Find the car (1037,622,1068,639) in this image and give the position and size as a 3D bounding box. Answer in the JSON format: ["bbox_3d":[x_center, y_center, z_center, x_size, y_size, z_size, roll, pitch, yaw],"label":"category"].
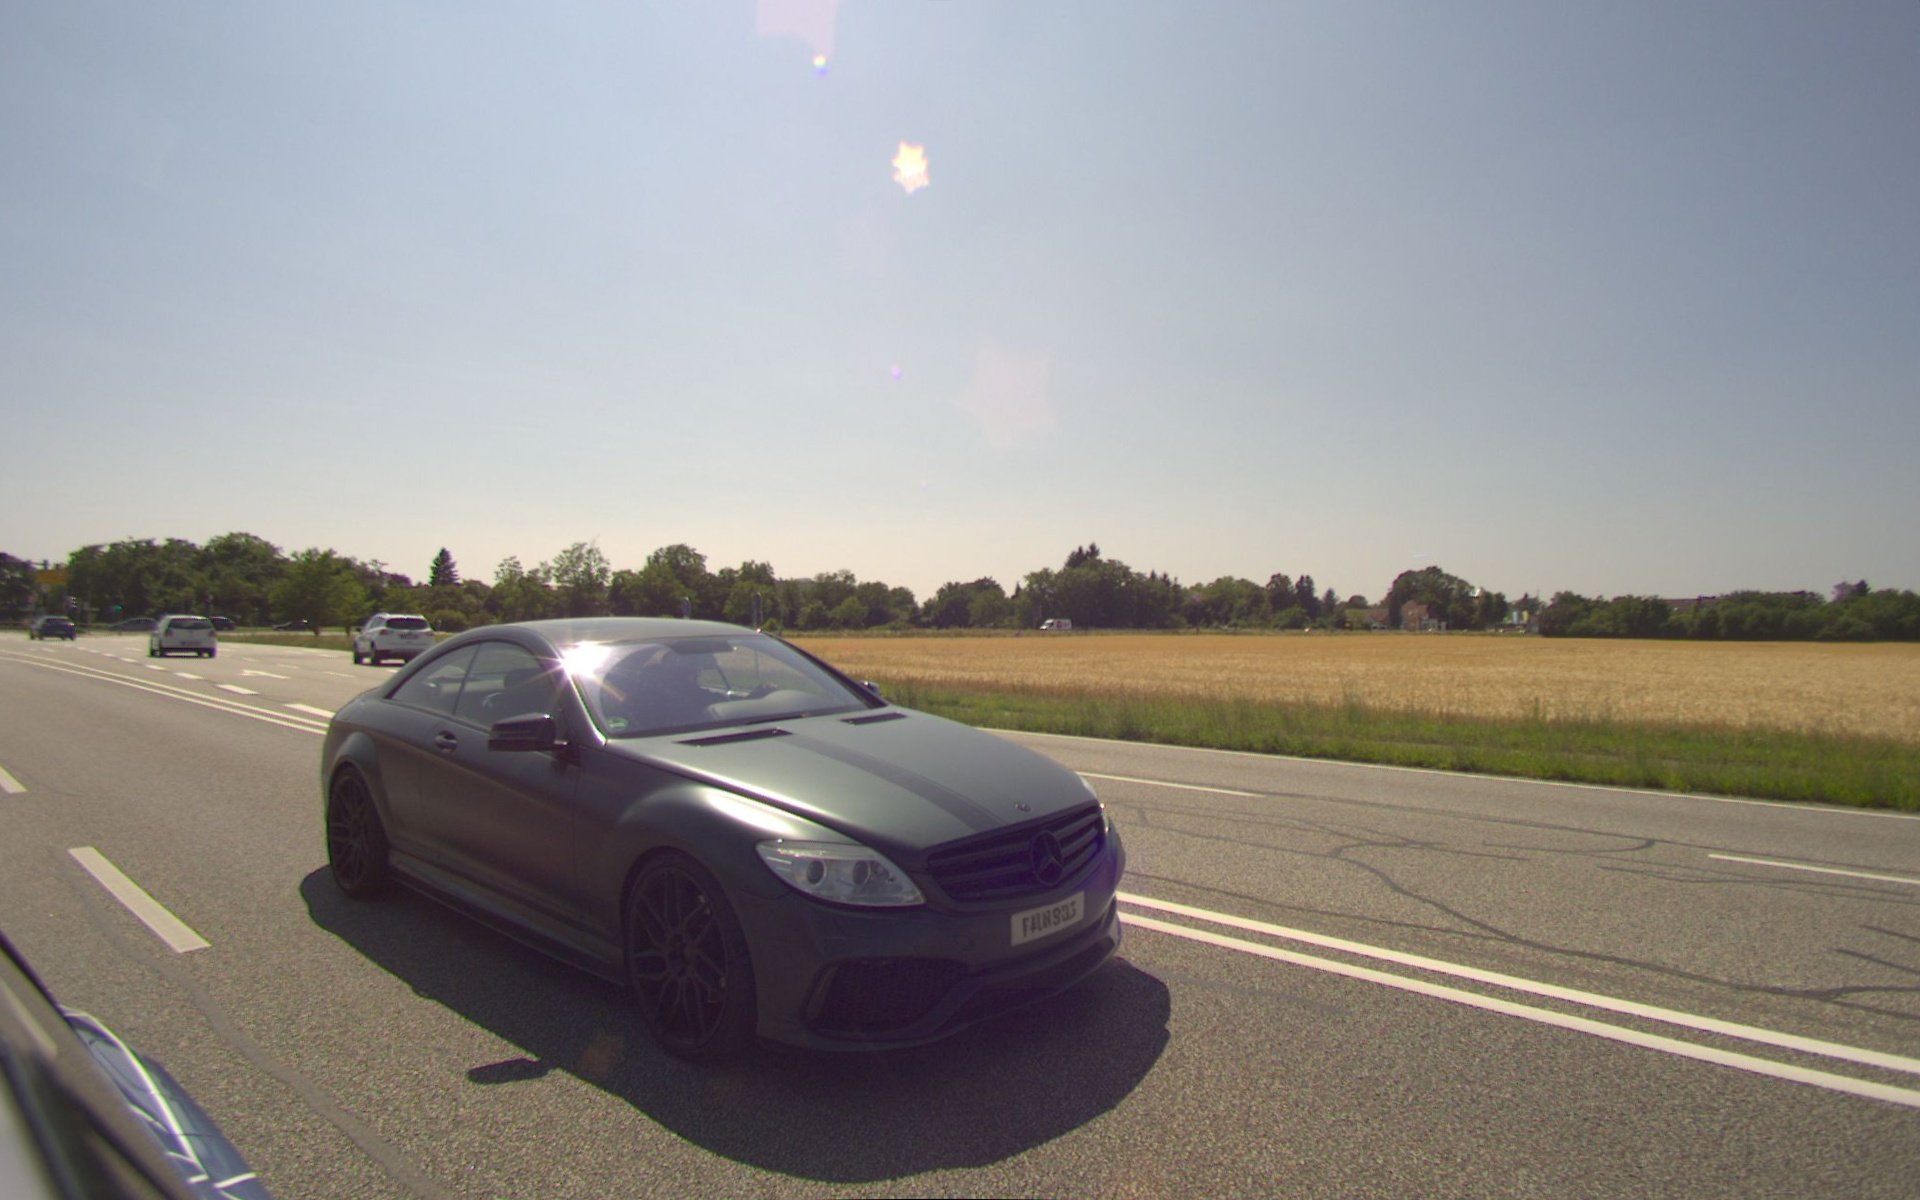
[{"bbox_3d":[17.055,5.518,186.027,6.283,2.931,2.003,-1,0,-41],"label":"car"}]

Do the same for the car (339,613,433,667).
[{"bbox_3d":[-19.310,1.334,33.986,1.645,1.689,4.466,4,-4,-44],"label":"car"}]

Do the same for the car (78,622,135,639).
[{"bbox_3d":[-87.175,3.130,103.400,4.298,1.606,1.638,2,-3,-37],"label":"car"}]

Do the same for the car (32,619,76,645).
[{"bbox_3d":[-56.111,1.959,62.662,1.739,1.468,4.233,4,-3,-45],"label":"car"}]

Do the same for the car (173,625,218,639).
[{"bbox_3d":[-81.355,3.394,107.706,3.819,1.397,1.638,1,-2,-40],"label":"car"}]

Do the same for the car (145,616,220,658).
[{"bbox_3d":[-28.295,1.346,36.791,1.728,1.453,4.086,3,-3,-43],"label":"car"}]

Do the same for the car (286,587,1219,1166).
[{"bbox_3d":[-1.420,0.725,4.844,4.874,1.461,1.792,-1,0,41],"label":"car"}]
